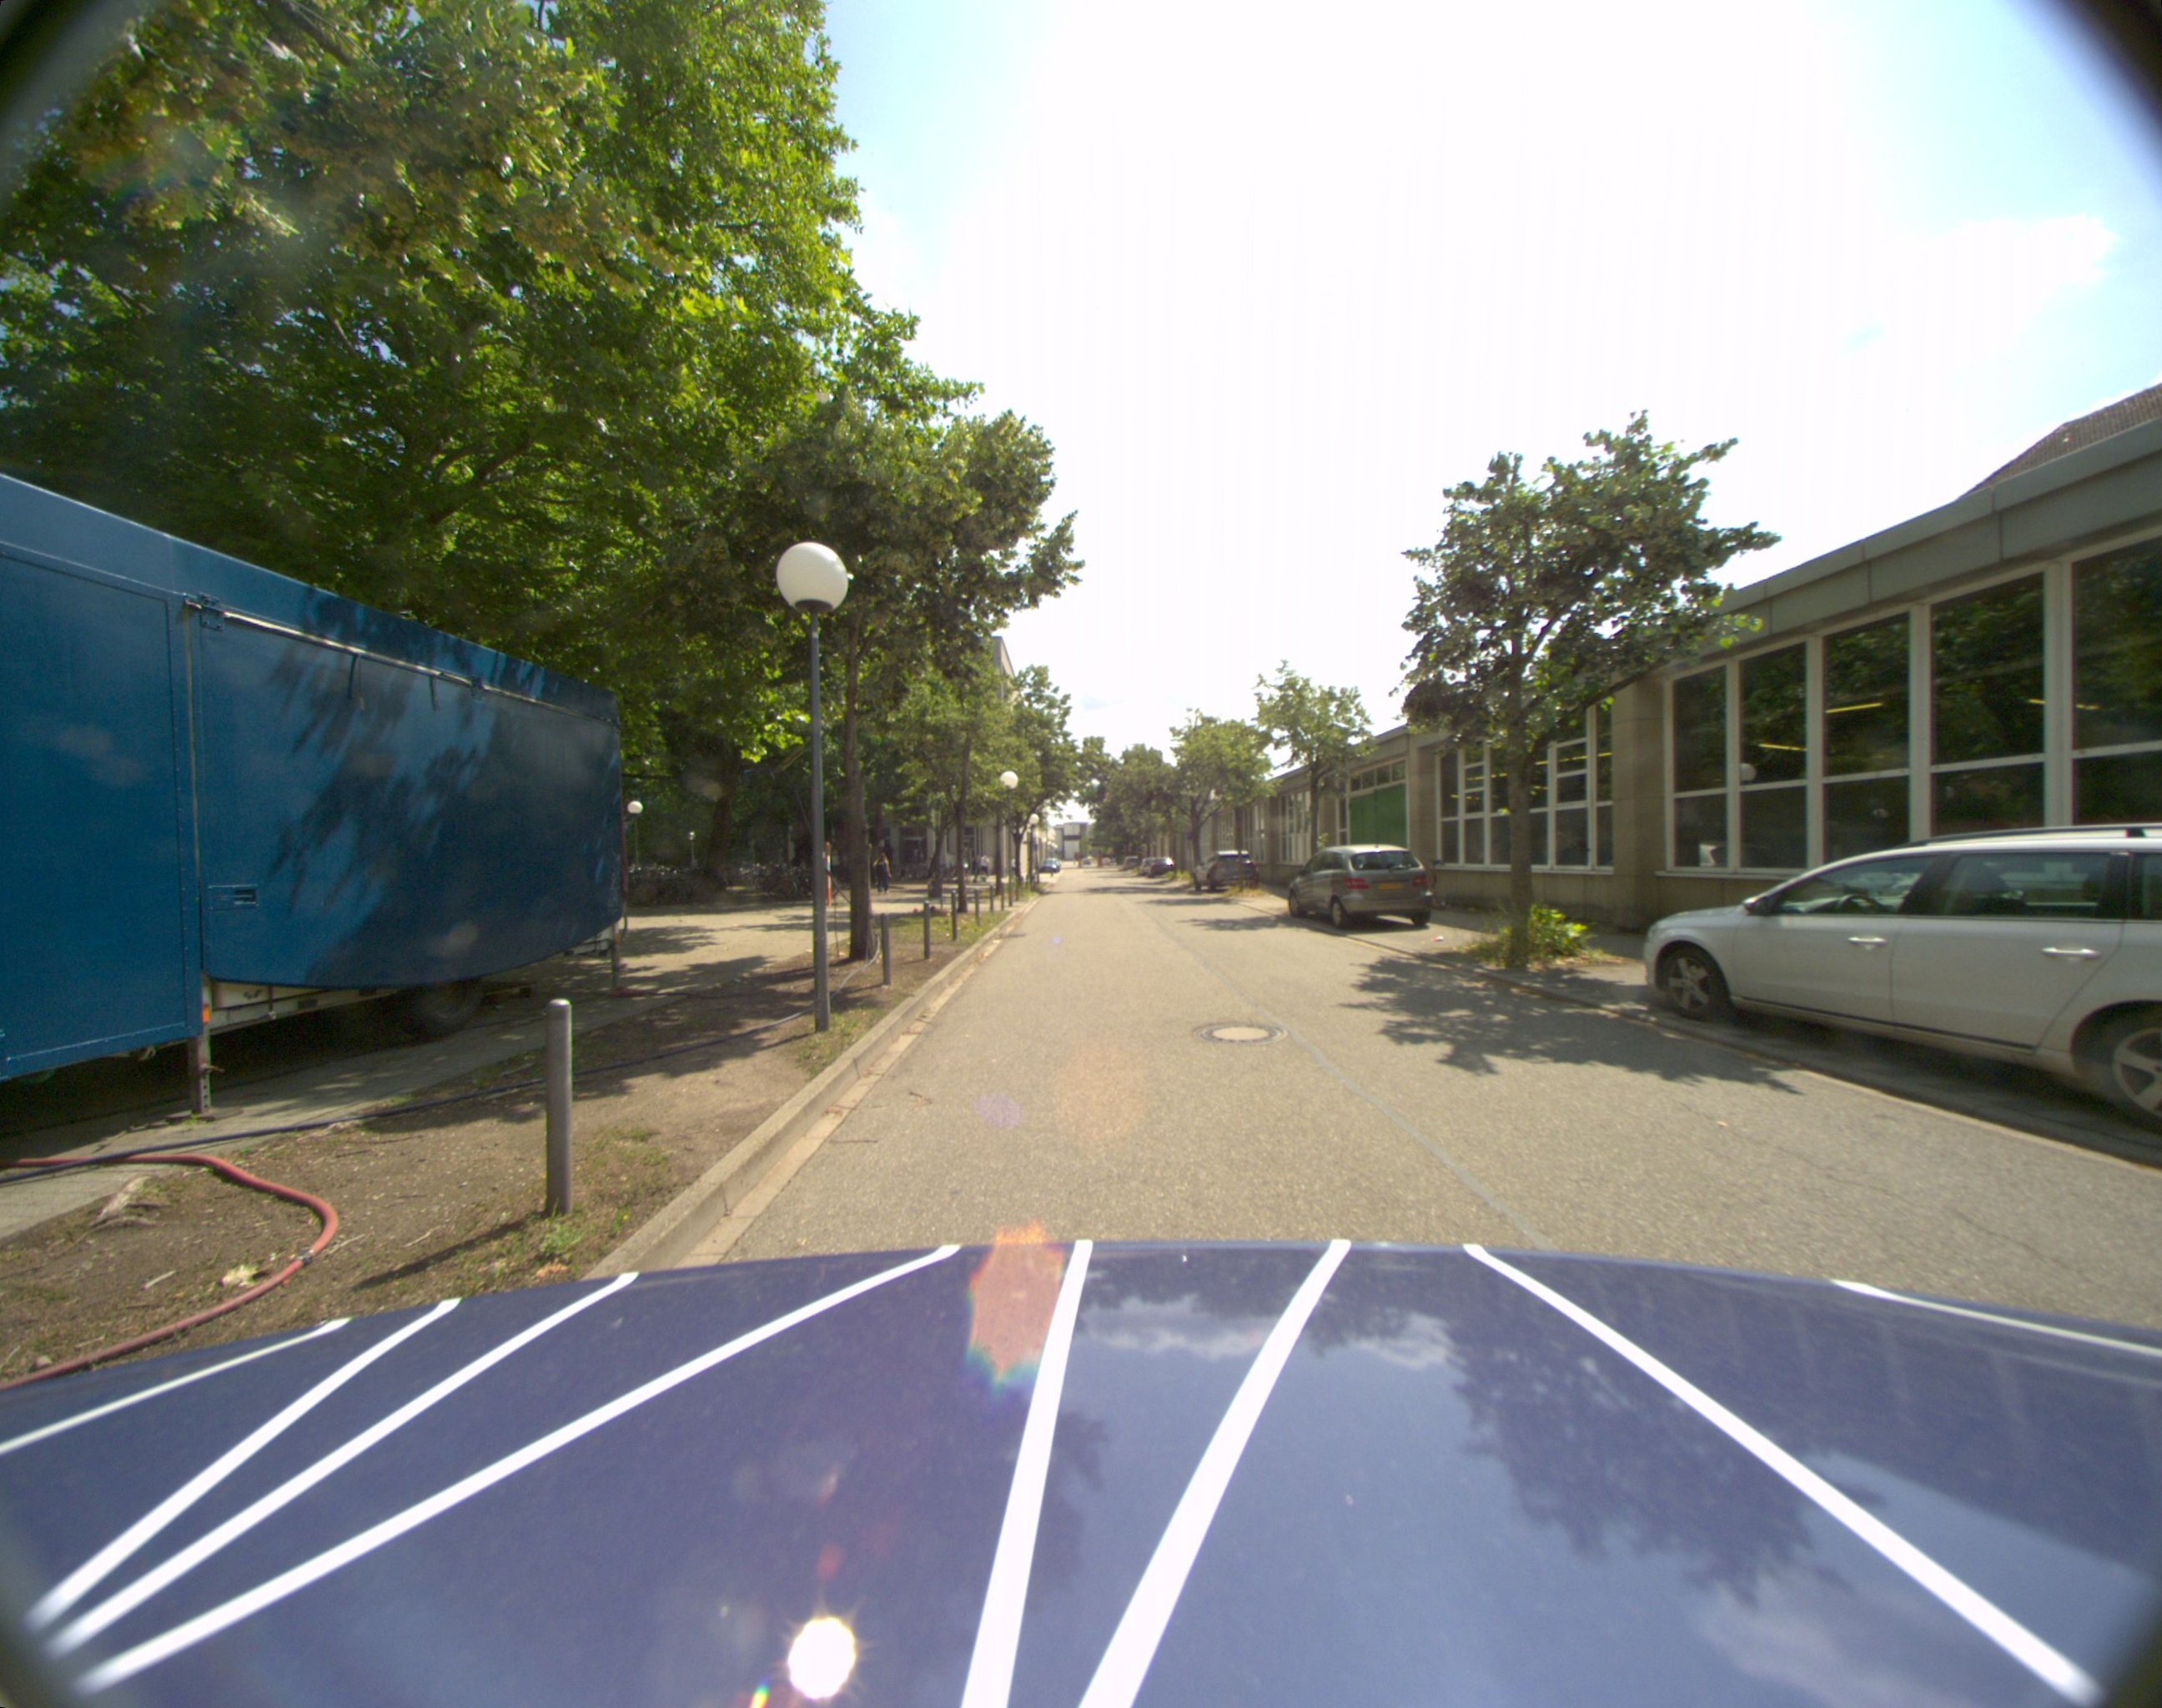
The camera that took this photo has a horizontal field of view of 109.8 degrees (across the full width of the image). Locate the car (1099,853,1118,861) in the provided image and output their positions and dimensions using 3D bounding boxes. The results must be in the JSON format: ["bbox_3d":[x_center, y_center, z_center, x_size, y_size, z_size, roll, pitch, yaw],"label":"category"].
[{"bbox_3d":[5.543,0.580,152.930,3.674,1.440,1.804,-4,0,-2],"label":"car"}]

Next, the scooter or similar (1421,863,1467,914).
[{"bbox_3d":[8.746,0.818,18.353,0.506,1.162,1.215,-3,0,0],"label":"scooter or similar"}]

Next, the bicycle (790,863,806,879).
[{"bbox_3d":[-19.312,1.155,51.824,0.501,1.041,1.688,-3,-1,-5],"label":"bicycle"}]

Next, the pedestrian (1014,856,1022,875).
[{"bbox_3d":[-5.646,1.006,67.710,0.614,1.719,0.542,-1,1,1],"label":"pedestrian"}]

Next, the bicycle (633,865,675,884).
[{"bbox_3d":[-23.053,1.098,41.028,1.907,0.973,0.477,0,1,-38],"label":"bicycle"}]

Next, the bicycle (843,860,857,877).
[{"bbox_3d":[-15.806,1.012,52.077,0.628,1.143,1.695,-3,-1,-8],"label":"bicycle"}]

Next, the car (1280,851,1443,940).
[{"bbox_3d":[5.725,0.754,16.075,1.762,1.547,4.112,-3,0,-2],"label":"car"}]

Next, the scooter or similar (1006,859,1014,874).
[{"bbox_3d":[-5.800,0.997,62.233,0.564,1.204,1.510,1,1,-1],"label":"scooter or similar"}]

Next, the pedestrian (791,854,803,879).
[{"bbox_3d":[-19.568,0.857,52.403,0.428,1.693,0.944,-3,0,-4],"label":"pedestrian"}]

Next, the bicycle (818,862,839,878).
[{"bbox_3d":[-17.277,1.096,51.965,0.617,1.041,1.697,-4,-1,8],"label":"bicycle"}]

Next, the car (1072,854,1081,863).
[{"bbox_3d":[-0.979,1.153,179.400,1.998,2.001,4.000,2,-1,0],"label":"car"}]

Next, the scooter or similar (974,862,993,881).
[{"bbox_3d":[-5.939,1.062,46.254,0.496,1.107,1.365,-1,-1,25],"label":"scooter or similar"}]

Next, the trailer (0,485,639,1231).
[{"bbox_3d":[-5.770,0.011,4.530,2.699,3.034,6.256,0,0,-1],"label":"trailer"}]

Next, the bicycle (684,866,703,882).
[{"bbox_3d":[-26.418,1.376,51.866,0.478,1.077,1.688,-3,-1,-4],"label":"bicycle"}]

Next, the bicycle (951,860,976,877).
[{"bbox_3d":[-7.904,0.983,51.253,0.604,1.135,1.790,1,1,33],"label":"bicycle"}]

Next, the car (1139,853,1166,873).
[{"bbox_3d":[5.707,0.704,60.865,1.634,1.440,3.752,-4,0,-1],"label":"car"}]

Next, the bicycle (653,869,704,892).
[{"bbox_3d":[-17.743,1.150,33.505,1.908,0.973,0.477,0,1,-39],"label":"bicycle"}]

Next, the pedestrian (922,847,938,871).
[{"bbox_3d":[-10.931,0.347,54.979,0.937,1.730,0.749,-2,1,-3],"label":"pedestrian"}]

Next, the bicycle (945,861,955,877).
[{"bbox_3d":[-10.312,1.171,59.800,0.531,1.235,1.829,-1,1,-1],"label":"bicycle"}]

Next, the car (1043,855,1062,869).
[{"bbox_3d":[-2.930,0.808,78.319,1.843,1.389,3.878,1,-1,0],"label":"car"}]

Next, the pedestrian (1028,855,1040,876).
[{"bbox_3d":[-3.579,0.857,57.651,0.797,1.533,0.664,-1,0,-6],"label":"pedestrian"}]

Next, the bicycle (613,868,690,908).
[{"bbox_3d":[-12.777,1.000,22.660,1.906,1.112,0.611,0,1,-22],"label":"bicycle"}]

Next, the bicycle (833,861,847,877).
[{"bbox_3d":[-16.467,1.052,52.005,0.568,1.041,1.695,-3,-1,-8],"label":"bicycle"}]

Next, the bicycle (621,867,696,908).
[{"bbox_3d":[-12.042,0.951,21.707,1.811,1.112,0.611,0,1,-22],"label":"bicycle"}]

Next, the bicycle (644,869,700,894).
[{"bbox_3d":[-16.405,1.091,30.522,1.908,0.973,0.477,0,1,-41],"label":"bicycle"}]

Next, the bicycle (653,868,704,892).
[{"bbox_3d":[-17.101,1.097,32.313,1.907,0.973,0.477,0,1,-30],"label":"bicycle"}]

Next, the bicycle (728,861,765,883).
[{"bbox_3d":[-18.709,0.992,42.551,1.849,1.163,0.412,-1,0,-39],"label":"bicycle"}]

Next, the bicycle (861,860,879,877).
[{"bbox_3d":[-14.415,0.978,51.946,0.627,1.118,1.697,1,-1,5],"label":"bicycle"}]

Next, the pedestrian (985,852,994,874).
[{"bbox_3d":[-7.241,0.739,60.343,0.614,1.719,0.542,-1,1,1],"label":"pedestrian"}]

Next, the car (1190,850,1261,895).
[{"bbox_3d":[5.920,0.694,31.593,1.827,1.623,4.515,-3,0,-3],"label":"car"}]

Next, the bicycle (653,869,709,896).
[{"bbox_3d":[-15.592,1.092,29.661,0.477,0.973,1.908,1,1,42],"label":"bicycle"}]

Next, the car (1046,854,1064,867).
[{"bbox_3d":[-2.825,0.738,84.022,1.843,1.389,3.878,1,-1,0],"label":"car"}]

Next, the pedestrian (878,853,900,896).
[{"bbox_3d":[-7.345,0.774,29.104,0.570,1.563,0.927,0,4,1],"label":"pedestrian"}]

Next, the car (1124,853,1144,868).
[{"bbox_3d":[5.735,0.680,83.047,1.803,1.440,3.676,-4,0,-1],"label":"car"}]

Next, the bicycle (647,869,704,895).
[{"bbox_3d":[-16.016,1.091,30.048,0.477,0.973,1.908,1,1,42],"label":"bicycle"}]

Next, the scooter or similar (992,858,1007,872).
[{"bbox_3d":[-7.503,1.014,69.975,0.566,1.205,1.506,-3,3,-40],"label":"scooter or similar"}]

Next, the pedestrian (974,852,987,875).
[{"bbox_3d":[-7.985,0.725,60.320,0.811,1.786,0.618,-2,1,-44],"label":"pedestrian"}]

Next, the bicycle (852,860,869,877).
[{"bbox_3d":[-15.125,0.985,52.132,0.627,1.143,1.697,1,-1,2],"label":"bicycle"}]

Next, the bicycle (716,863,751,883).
[{"bbox_3d":[-20.608,1.109,45.085,1.848,1.163,0.435,-1,0,-35],"label":"bicycle"}]

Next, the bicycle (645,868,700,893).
[{"bbox_3d":[-16.660,1.073,30.997,1.908,0.973,0.477,0,1,-42],"label":"bicycle"}]

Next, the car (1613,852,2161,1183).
[{"bbox_3d":[5.833,0.761,4.691,1.730,1.448,4.582,-3,0,-2],"label":"car"}]

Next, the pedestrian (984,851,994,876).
[{"bbox_3d":[-7.186,0.756,59.278,0.687,1.880,0.686,-2,2,-3],"label":"pedestrian"}]

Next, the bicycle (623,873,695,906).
[{"bbox_3d":[-13.188,1.086,23.802,1.906,0.973,0.611,0,1,-22],"label":"bicycle"}]

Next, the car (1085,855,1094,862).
[{"bbox_3d":[1.947,1.037,173.410,1.803,1.440,3.676,-4,0,-1],"label":"car"}]

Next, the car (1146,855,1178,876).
[{"bbox_3d":[5.854,0.826,55.164,1.730,1.427,4.289,-3,-1,-1],"label":"car"}]

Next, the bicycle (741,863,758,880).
[{"bbox_3d":[-22.561,1.161,51.746,0.454,1.123,1.688,-3,-1,-5],"label":"bicycle"}]

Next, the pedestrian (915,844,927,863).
[{"bbox_3d":[-15.033,-0.048,71.425,0.618,1.786,0.811,0,1,32],"label":"pedestrian"}]
